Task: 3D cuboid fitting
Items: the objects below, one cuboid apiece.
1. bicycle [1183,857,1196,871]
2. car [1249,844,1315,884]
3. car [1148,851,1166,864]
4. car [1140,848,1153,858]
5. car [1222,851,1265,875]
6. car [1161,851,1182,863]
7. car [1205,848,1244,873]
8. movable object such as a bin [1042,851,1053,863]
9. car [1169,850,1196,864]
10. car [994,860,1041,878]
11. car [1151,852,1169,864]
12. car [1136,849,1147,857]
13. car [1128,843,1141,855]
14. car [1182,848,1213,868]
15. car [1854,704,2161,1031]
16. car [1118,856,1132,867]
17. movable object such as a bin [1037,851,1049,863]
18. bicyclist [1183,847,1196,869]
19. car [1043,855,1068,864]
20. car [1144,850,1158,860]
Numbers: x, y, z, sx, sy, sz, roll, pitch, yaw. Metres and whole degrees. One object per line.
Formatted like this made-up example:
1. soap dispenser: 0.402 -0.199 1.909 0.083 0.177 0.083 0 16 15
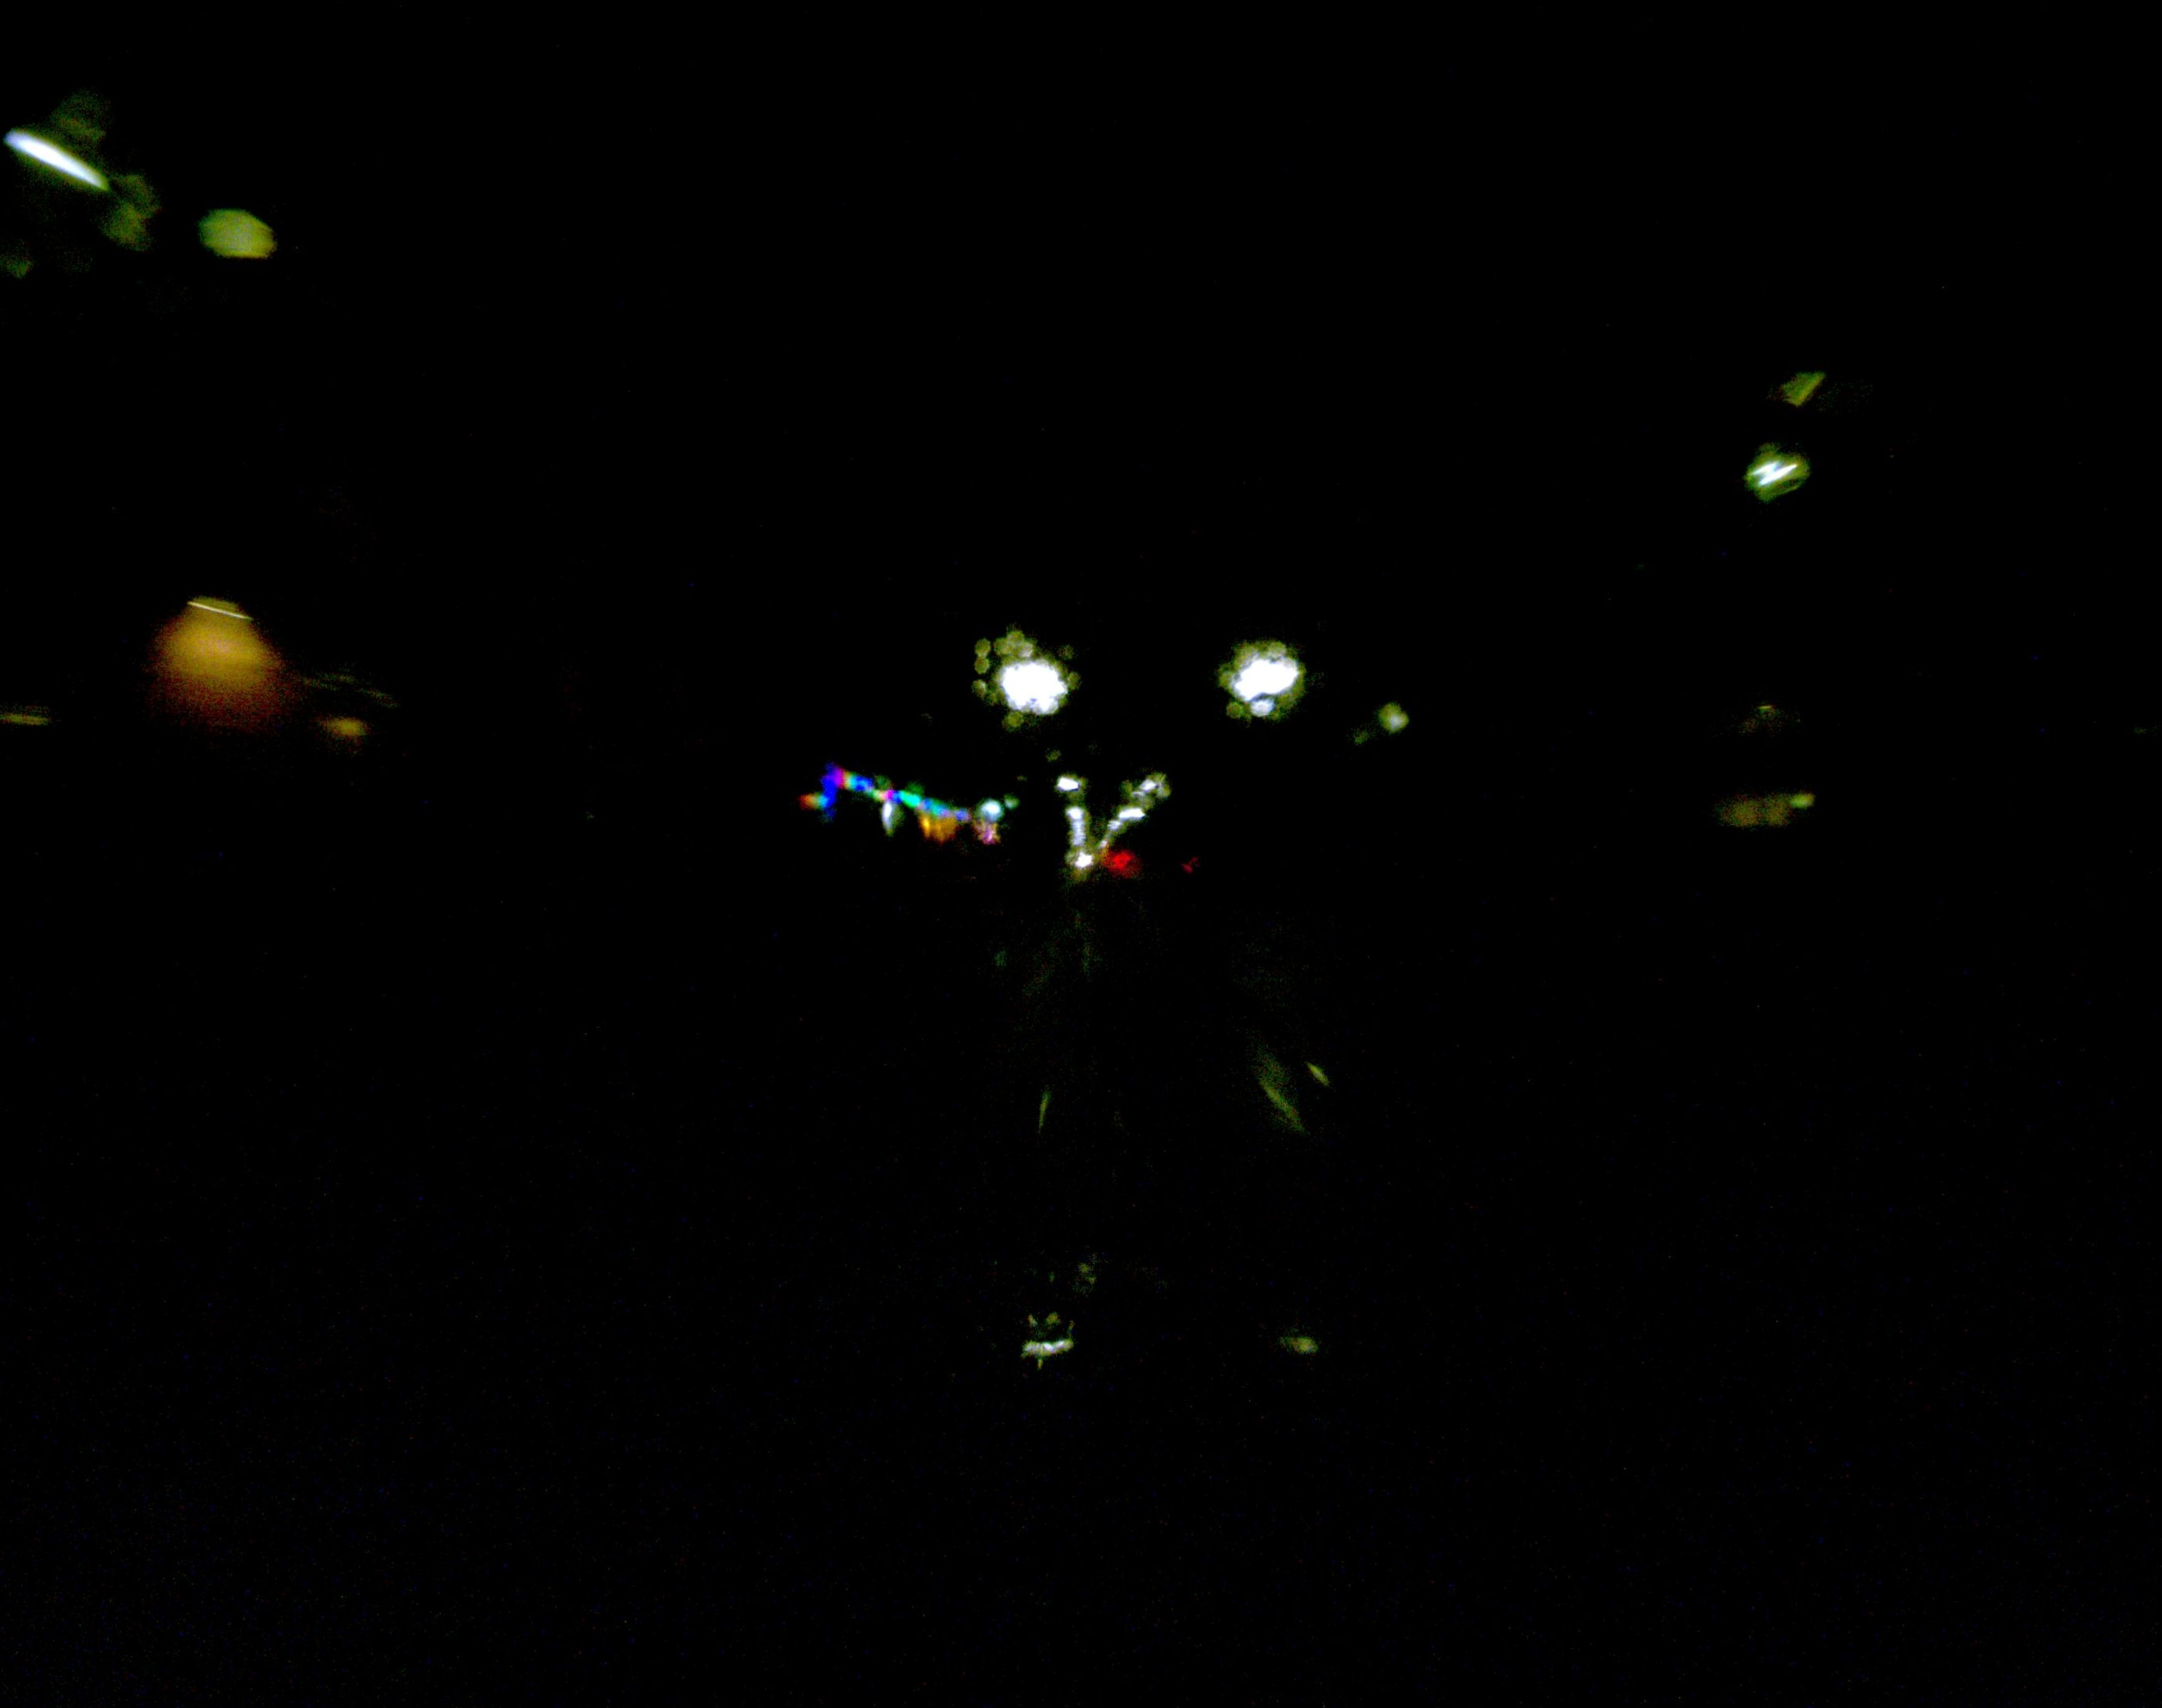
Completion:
1. bicycle: 8.369 0.766 58.684 0.784 1.076 1.918 0 1 1
2. car: 9.517 0.436 36.331 1.974 1.646 4.601 -4 1 2
3. car: 11.120 0.453 111.893 2.149 1.610 4.588 -4 1 0
4. car: 11.288 -0.241 131.760 1.814 1.569 4.353 -5 0 1
5. car: 10.039 0.547 47.311 1.695 1.413 3.913 -1 0 -2
6. car: 10.769 0.343 91.143 1.845 1.415 4.207 -1 1 -2
7. car: 10.264 0.447 54.657 1.988 1.622 4.516 -2 1 1
8. movable object such as a bin: -4.097 0.365 92.989 1.326 1.400 1.159 0 1 -5
9. car: 10.775 0.293 80.729 1.893 1.454 4.958 -1 1 -4
10. car: -6.243 1.419 74.251 4.110 1.528 1.956 -2 1 -24
11. car: 10.418 0.512 100.400 1.778 1.432 4.606 -1 1 -3
12. car: 11.266 -0.240 140.846 1.723 1.447 3.950 -2 1 0
13. car: 12.103 -1.202 173.547 2.248 2.494 5.258 -4 1 -2
14. car: 10.420 0.366 68.161 1.885 1.536 4.398 -5 1 -2
15. car: 9.563 0.076 5.215 2.190 2.576 6.393 -2 0 3
16. car: 6.248 1.066 108.076 1.780 1.509 4.051 -2 0 1
17. movable object such as a bin: -4.531 0.381 90.729 1.371 1.414 1.073 0 1 6
18. bicyclist: 8.371 0.305 58.670 0.784 1.646 1.206 0 1 1
19. car: -4.678 0.943 138.059 4.349 1.459 1.677 -2 1 -38
20. car: 11.121 0.096 121.005 1.735 1.430 4.625 -2 1 1
